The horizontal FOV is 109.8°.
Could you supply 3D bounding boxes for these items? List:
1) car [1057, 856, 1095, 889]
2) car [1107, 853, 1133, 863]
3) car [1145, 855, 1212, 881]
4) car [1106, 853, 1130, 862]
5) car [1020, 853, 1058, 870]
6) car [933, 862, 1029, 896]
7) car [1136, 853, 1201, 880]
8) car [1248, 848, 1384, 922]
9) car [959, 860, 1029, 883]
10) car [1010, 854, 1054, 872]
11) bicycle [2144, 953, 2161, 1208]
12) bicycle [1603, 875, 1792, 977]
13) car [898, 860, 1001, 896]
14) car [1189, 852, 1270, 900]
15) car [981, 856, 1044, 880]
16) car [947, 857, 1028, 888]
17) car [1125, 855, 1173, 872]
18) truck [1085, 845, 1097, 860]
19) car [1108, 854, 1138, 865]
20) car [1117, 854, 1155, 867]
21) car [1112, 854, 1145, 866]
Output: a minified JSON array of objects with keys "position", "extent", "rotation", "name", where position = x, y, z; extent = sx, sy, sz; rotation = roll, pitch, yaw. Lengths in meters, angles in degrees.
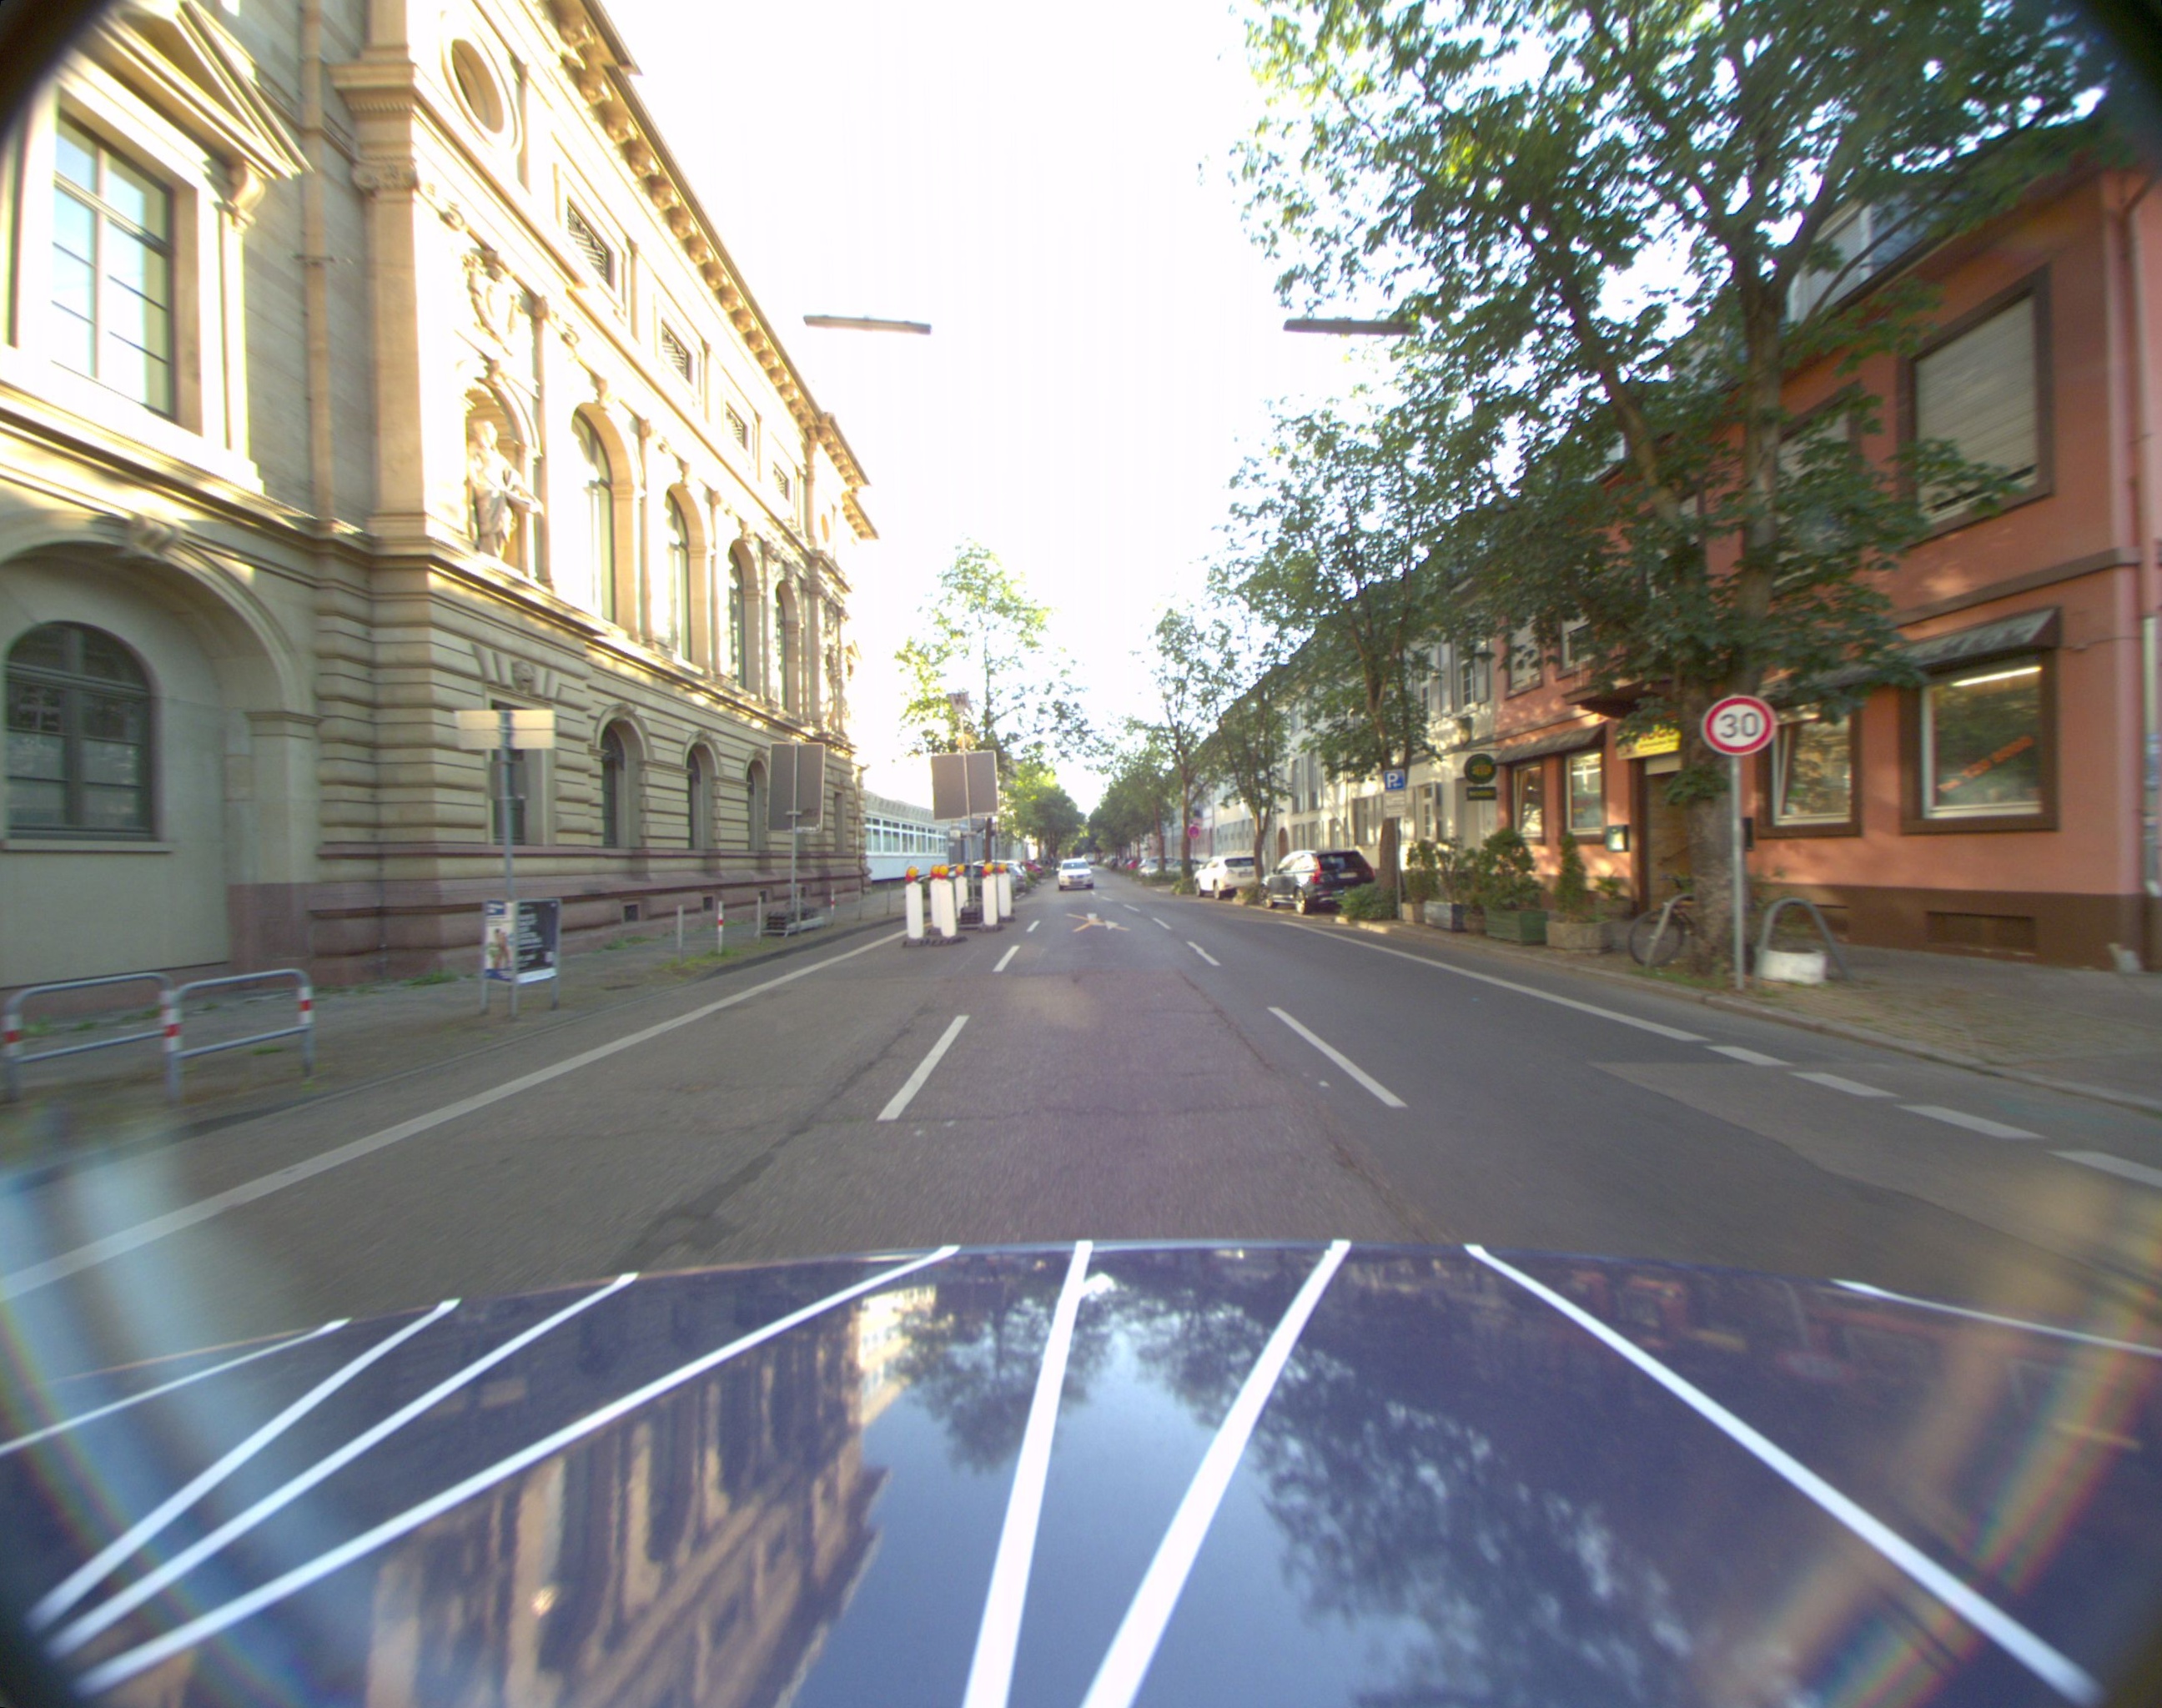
[{"position":[-0.223,0.986,41.966],"extent":[1.957,1.667,4.542],"rotation":[-1,0,0],"name":"car"},{"position":[6.462,0.642,126.526],"extent":[4.230,1.468,1.969],"rotation":[-1,0,-2],"name":"car"},{"position":[6.296,0.893,49.456],"extent":[4.228,1.536,1.801],"rotation":[-1,0,3],"name":"car"},{"position":[6.552,0.620,135.011],"extent":[4.230,1.508,1.969],"rotation":[-1,0,-2],"name":"car"},{"position":[-4.921,0.859,88.767],"extent":[4.369,1.862,1.733],"rotation":[0,0,-2],"name":"car"},{"position":[-4.792,1.200,36.818],"extent":[4.368,1.486,1.672],"rotation":[1,0,0],"name":"car"},{"position":[5.983,0.839,52.190],"extent":[4.230,1.680,1.800],"rotation":[-1,0,-2],"name":"car"},{"position":[6.673,0.800,22.257],"extent":[1.833,1.749,5.046],"rotation":[-5,1,-6],"name":"car"},{"position":[-5.571,1.117,49.197],"extent":[4.369,1.485,1.886],"rotation":[0,0,-2],"name":"car"},{"position":[-4.975,0.924,77.128],"extent":[4.369,1.768,1.733],"rotation":[1,0,-2],"name":"car"},{"position":[5.185,1.048,2.452],"extent":[0.626,1.149,2.052],"rotation":[-1,2,1],"name":"bicycle"},{"position":[7.404,0.841,9.156],"extent":[1.872,1.098,0.610],"rotation":[-2,1,-6],"name":"bicycle"},{"position":[-5.861,1.056,34.189],"extent":[4.369,1.455,1.833],"rotation":[1,0,-4],"name":"car"},{"position":[5.900,0.829,30.790],"extent":[1.833,1.658,4.654],"rotation":[-5,1,-6],"name":"car"},{"position":[-4.820,1.002,54.207],"extent":[4.369,1.615,1.733],"rotation":[1,0,-2],"name":"car"},{"position":[-5.259,1.025,43.282],"extent":[4.369,1.633,2.054],"rotation":[1,0,-2],"name":"car"},{"position":[6.276,0.848,70.374],"extent":[4.230,1.499,1.800],"rotation":[-1,0,-2],"name":"car"},{"position":[2.619,-0.438,191.787],"extent":[2.748,3.723,7.855],"rotation":[-1,0,1],"name":"truck"},{"position":[6.271,0.768,112.531],"extent":[4.230,1.468,1.969],"rotation":[-1,0,-2],"name":"car"},{"position":[6.415,0.761,89.250],"extent":[4.230,1.509,1.759],"rotation":[-1,0,-2],"name":"car"},{"position":[6.237,0.840,100.059],"extent":[4.230,1.468,1.853],"rotation":[-1,0,-2],"name":"car"}]
